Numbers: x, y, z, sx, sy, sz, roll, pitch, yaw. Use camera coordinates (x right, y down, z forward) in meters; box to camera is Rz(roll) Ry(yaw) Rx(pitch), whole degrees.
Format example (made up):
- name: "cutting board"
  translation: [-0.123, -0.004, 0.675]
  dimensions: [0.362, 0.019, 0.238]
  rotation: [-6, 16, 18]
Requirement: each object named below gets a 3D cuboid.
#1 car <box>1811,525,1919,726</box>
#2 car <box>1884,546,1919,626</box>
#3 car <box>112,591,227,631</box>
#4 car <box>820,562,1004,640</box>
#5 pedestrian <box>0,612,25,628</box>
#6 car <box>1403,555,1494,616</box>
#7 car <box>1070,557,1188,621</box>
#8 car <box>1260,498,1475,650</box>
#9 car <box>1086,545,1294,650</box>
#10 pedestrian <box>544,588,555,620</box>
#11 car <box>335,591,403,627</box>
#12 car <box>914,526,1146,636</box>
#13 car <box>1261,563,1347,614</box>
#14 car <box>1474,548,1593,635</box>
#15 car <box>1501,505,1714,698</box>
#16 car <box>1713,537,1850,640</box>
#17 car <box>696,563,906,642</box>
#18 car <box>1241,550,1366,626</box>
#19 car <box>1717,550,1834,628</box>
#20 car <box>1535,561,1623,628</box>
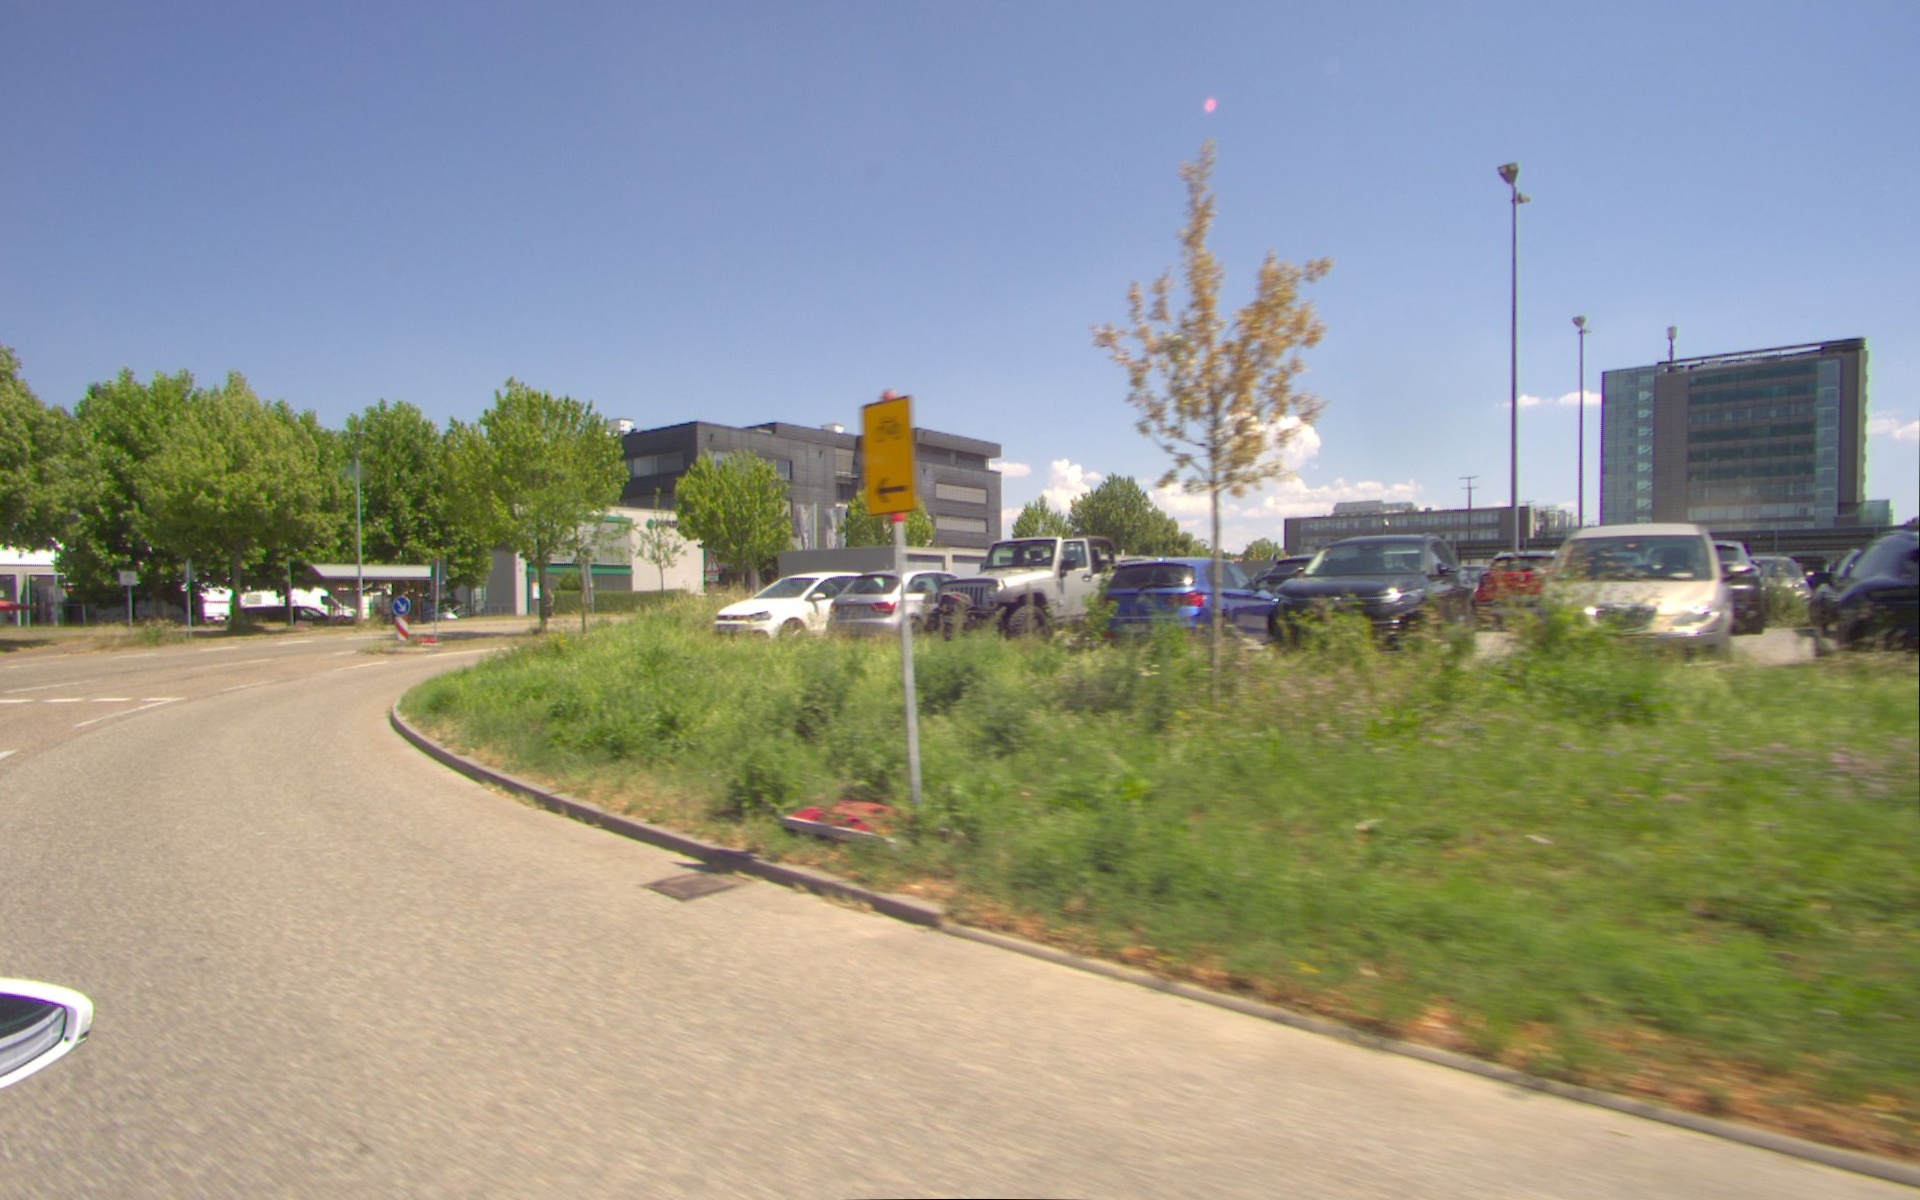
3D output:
- name: "car"
  translation: [9.224, 0.151, 9.243]
  dimensions: [1.792, 1.566, 4.371]
  rotation: [-1, 1, 37]
- name: "car"
  translation: [19.955, -0.328, 20.025]
  dimensions: [1.746, 1.519, 3.614]
  rotation: [-1, 1, 36]
- name: "car"
  translation: [-37.684, 0.482, 47.798]
  dimensions: [1.819, 1.751, 3.967]
  rotation: [-1, 1, 40]
- name: "car"
  translation: [-0.767, 0.031, 17.624]
  dimensions: [1.483, 1.197, 3.248]
  rotation: [-3, -1, 37]
- name: "pedestrian"
  translation: [-42.195, 0.882, 44.490]
  dimensions: [0.853, 0.704, 0.406]
  rotation: [-2, 2, -28]
- name: "car"
  translation: [13.197, -0.385, 26.962]
  dimensions: [1.578, 1.519, 3.614]
  rotation: [-1, 1, 36]
- name: "car"
  translation: [4.695, -0.323, 27.427]
  dimensions: [1.746, 1.619, 3.614]
  rotation: [-1, 1, 36]
- name: "car"
  translation: [5.289, -0.179, 12.672]
  dimensions: [1.665, 1.447, 4.019]
  rotation: [-1, -5, 35]
- name: "car"
  translation: [3.437, -0.007, 14.433]
  dimensions: [1.565, 1.273, 3.923]
  rotation: [-3, -1, 35]
- name: "pedestrian"
  translation: [-21.861, 0.207, 53.317]
  dimensions: [0.522, 1.691, 0.577]
  rotation: [0, -1, -24]
- name: "car"
  translation: [-35.268, 0.568, 59.770]
  dimensions: [4.199, 2.039, 1.543]
  rotation: [-1, -2, 28]
- name: "car"
  translation: [1.232, -0.260, 16.445]
  dimensions: [1.857, 1.547, 3.716]
  rotation: [-3, -2, 43]
- name: "car"
  translation: [10.971, -0.386, 31.835]
  dimensions: [1.578, 1.519, 3.614]
  rotation: [-1, 1, 36]
- name: "car"
  translation: [11.847, -0.190, 20.588]
  dimensions: [1.746, 1.619, 3.614]
  rotation: [-1, 1, 36]
- name: "car"
  translation: [6.868, -0.017, 10.565]
  dimensions: [1.596, 1.646, 3.824]
  rotation: [-1, 1, 35]
- name: "car"
  translation: [14.088, -0.185, 17.323]
  dimensions: [1.502, 1.595, 3.399]
  rotation: [-1, 0, 34]
- name: "car"
  translation: [-2.892, 0.059, 18.874]
  dimensions: [1.556, 1.314, 3.849]
  rotation: [-3, -1, 39]
- name: "car"
  translation: [8.054, -0.291, 23.289]
  dimensions: [1.746, 1.619, 3.614]
  rotation: [-1, 1, 36]
- name: "car"
  translation: [17.310, -0.246, 21.397]
  dimensions: [1.746, 1.519, 3.614]
  rotation: [-1, 1, 36]
- name: "car"
  translation: [15.406, -0.162, 24.855]
  dimensions: [1.578, 1.519, 3.614]
  rotation: [-1, 1, 36]
